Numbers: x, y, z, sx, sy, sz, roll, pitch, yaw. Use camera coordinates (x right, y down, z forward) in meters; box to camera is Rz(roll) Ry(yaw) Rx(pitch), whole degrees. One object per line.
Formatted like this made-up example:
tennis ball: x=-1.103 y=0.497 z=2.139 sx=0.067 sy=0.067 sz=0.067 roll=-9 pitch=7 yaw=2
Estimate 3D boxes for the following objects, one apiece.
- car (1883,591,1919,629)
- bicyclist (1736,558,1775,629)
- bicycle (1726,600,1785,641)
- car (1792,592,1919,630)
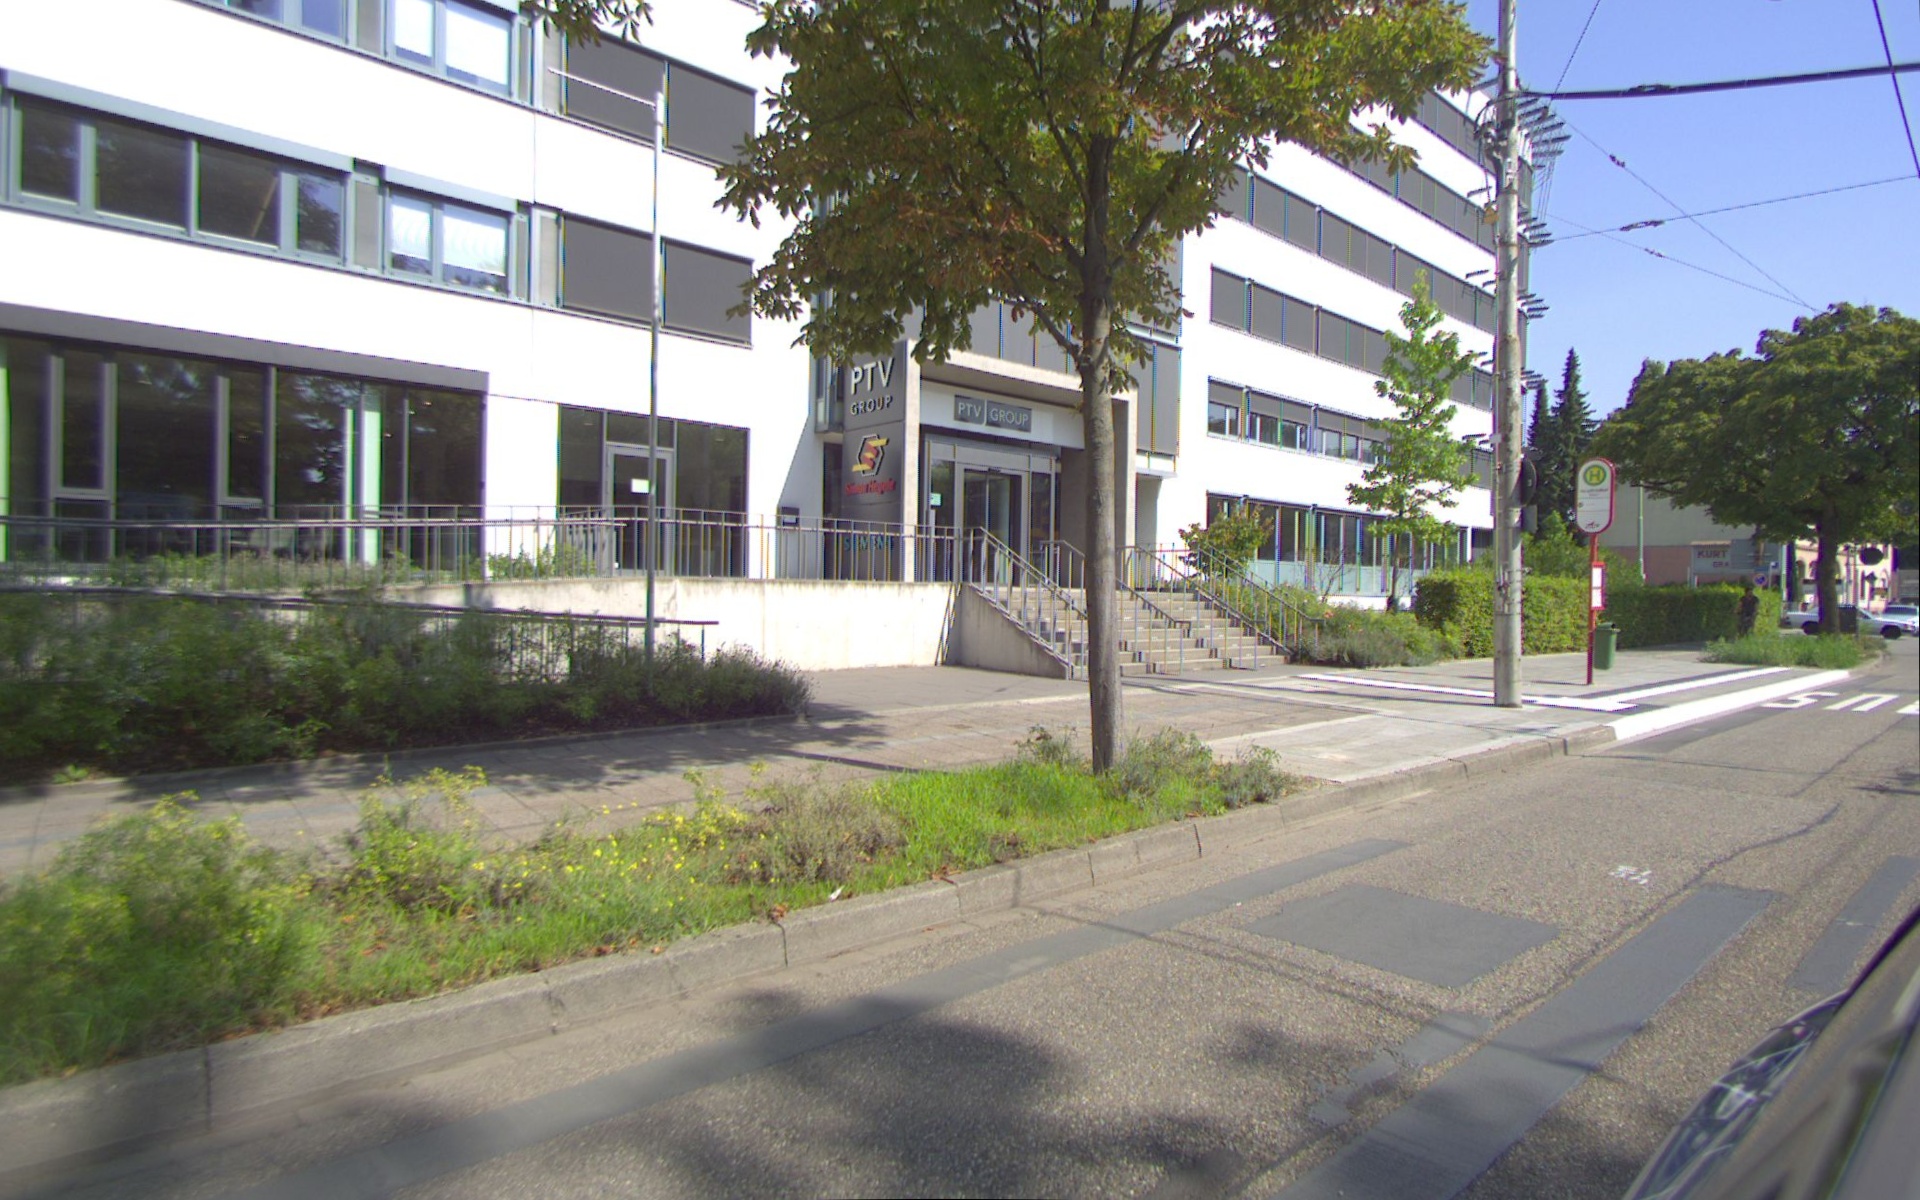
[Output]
car: x=50.174 y=0.503 z=53.450 sx=1.955 sy=1.946 sz=4.481 roll=1 pitch=1 yaw=44
bicyclist: x=23.397 y=-0.195 z=29.774 sx=0.781 sy=2.039 sz=1.254 roll=1 pitch=1 yaw=44
bicycle: x=23.468 y=0.577 z=29.855 sx=1.135 sy=1.139 sz=2.497 roll=1 pitch=1 yaw=44
car: x=39.667 y=0.461 z=44.539 sx=1.930 sy=1.534 sz=4.541 roll=0 pitch=1 yaw=-45
